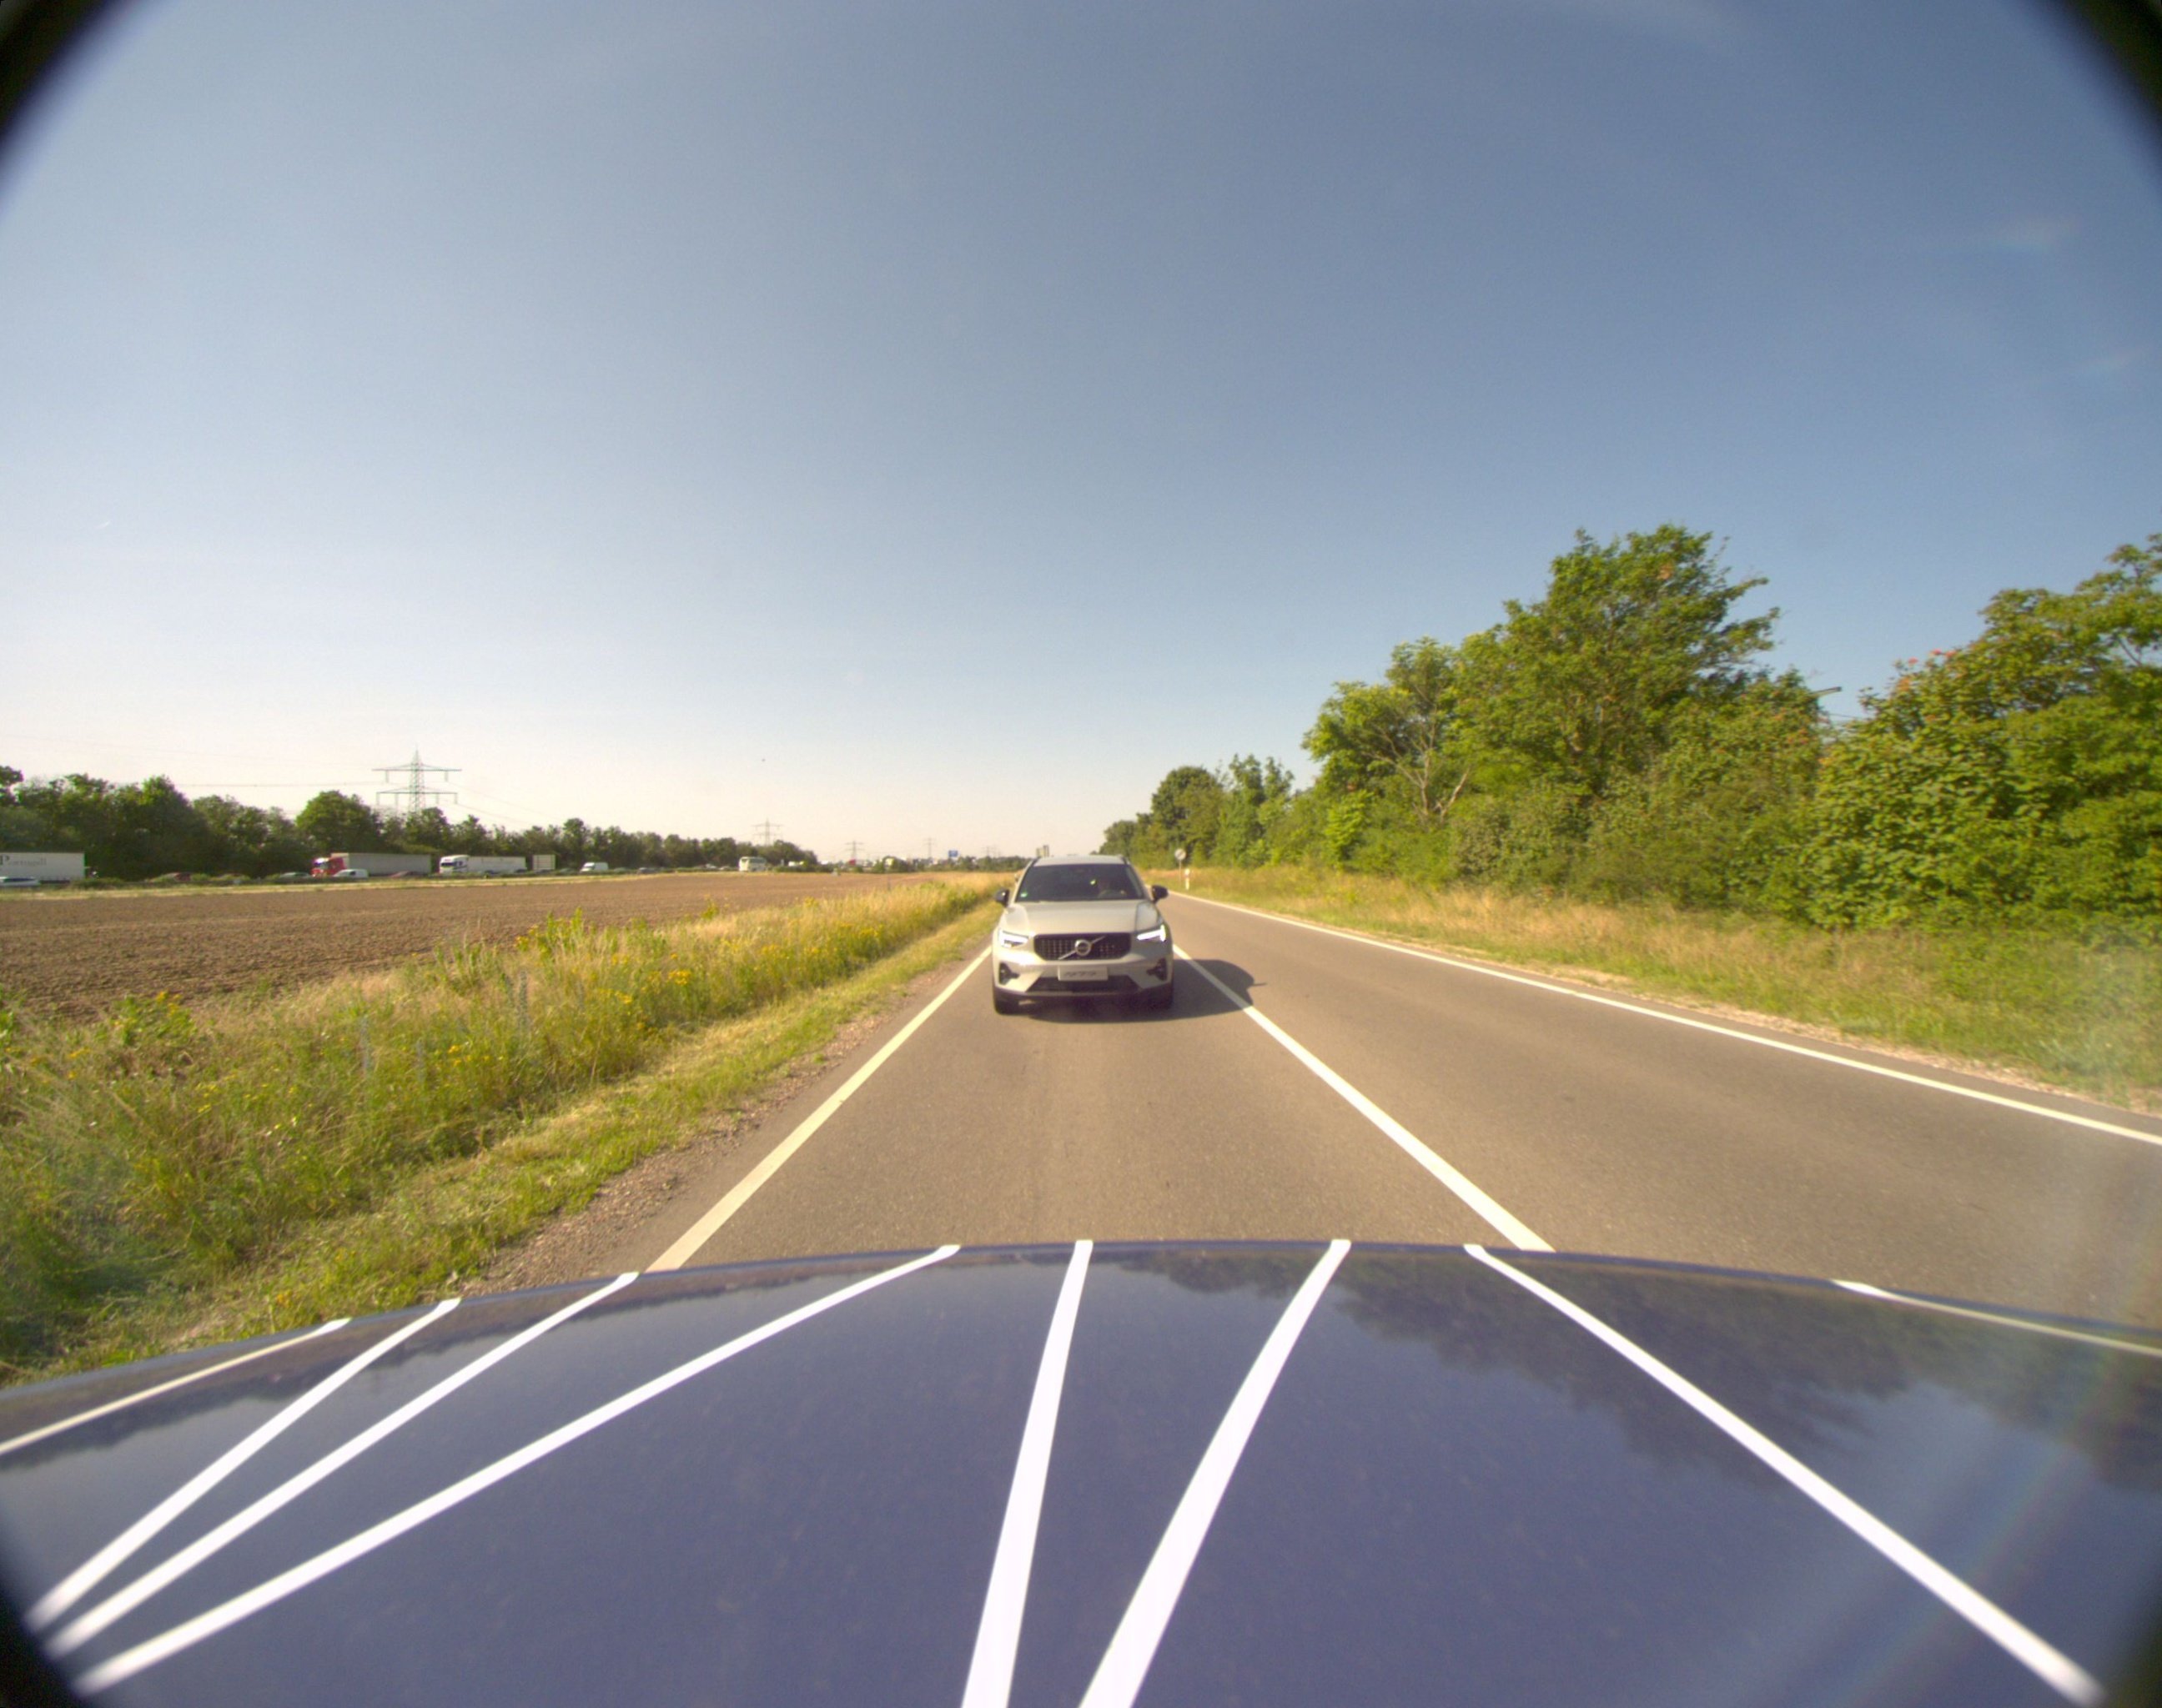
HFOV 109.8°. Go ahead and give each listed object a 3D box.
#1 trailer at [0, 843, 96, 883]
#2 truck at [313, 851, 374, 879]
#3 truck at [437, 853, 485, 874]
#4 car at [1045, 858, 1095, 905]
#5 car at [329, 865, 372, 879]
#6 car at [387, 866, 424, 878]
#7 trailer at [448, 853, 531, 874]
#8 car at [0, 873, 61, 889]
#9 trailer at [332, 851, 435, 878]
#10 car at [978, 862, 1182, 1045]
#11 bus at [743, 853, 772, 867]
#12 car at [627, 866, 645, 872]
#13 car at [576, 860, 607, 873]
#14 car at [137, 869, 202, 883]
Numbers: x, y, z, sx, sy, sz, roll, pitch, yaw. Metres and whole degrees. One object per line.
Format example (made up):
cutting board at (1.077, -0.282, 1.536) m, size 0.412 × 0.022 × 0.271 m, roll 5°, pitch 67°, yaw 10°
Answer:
trailer at (-102.913, 0.850, 71.520) m, size 3.079 × 3.711 × 13.366 m, roll -1°, pitch 0°, yaw 0°
truck at (-103.876, 1.528, 107.134) m, size 2.953 × 3.711 × 5.869 m, roll -1°, pitch 0°, yaw -1°
truck at (-103.927, 1.614, 127.505) m, size 3.211 × 3.510 × 6.108 m, roll 0°, pitch 0°, yaw -2°
car at (-0.445, 1.032, 29.698) m, size 1.790 × 1.664 × 4.000 m, roll -1°, pitch -1°, yaw -2°
car at (-97.353, 2.378, 101.334) m, size 1.707 × 1.629 × 4.093 m, roll -2°, pitch 0°, yaw -2°
car at (-97.469, 2.557, 109.725) m, size 1.707 × 1.500 × 4.093 m, roll -2°, pitch 0°, yaw -1°
trailer at (-104.159, 1.665, 134.350) m, size 3.211 × 3.510 × 15.081 m, roll 0°, pitch 0°, yaw -2°
car at (-97.364, 2.499, 69.686) m, size 1.855 × 1.377 × 4.248 m, roll -2°, pitch -1°, yaw -2°
trailer at (-103.988, 1.558, 113.752) m, size 2.953 × 3.711 × 13.781 m, roll -1°, pitch 0°, yaw -1°
car at (-0.023, 0.941, 9.074) m, size 1.840 × 1.627 × 4.135 m, roll -2°, pitch 0°, yaw -1°
bus at (-90.560, 1.719, 212.947) m, size 2.469 × 3.780 × 14.546 m, roll -1°, pitch -1°, yaw -2°
car at (-90.372, 3.012, 154.461) m, size 1.550 × 1.227 × 3.619 m, roll -4°, pitch -1°, yaw -2°
car at (-99.473, 2.514, 154.442) m, size 2.042 × 2.432 × 6.413 m, roll -1°, pitch 0°, yaw 0°
car at (-97.637, 2.292, 81.484) m, size 1.855 × 1.377 × 4.248 m, roll -2°, pitch -1°, yaw -2°
